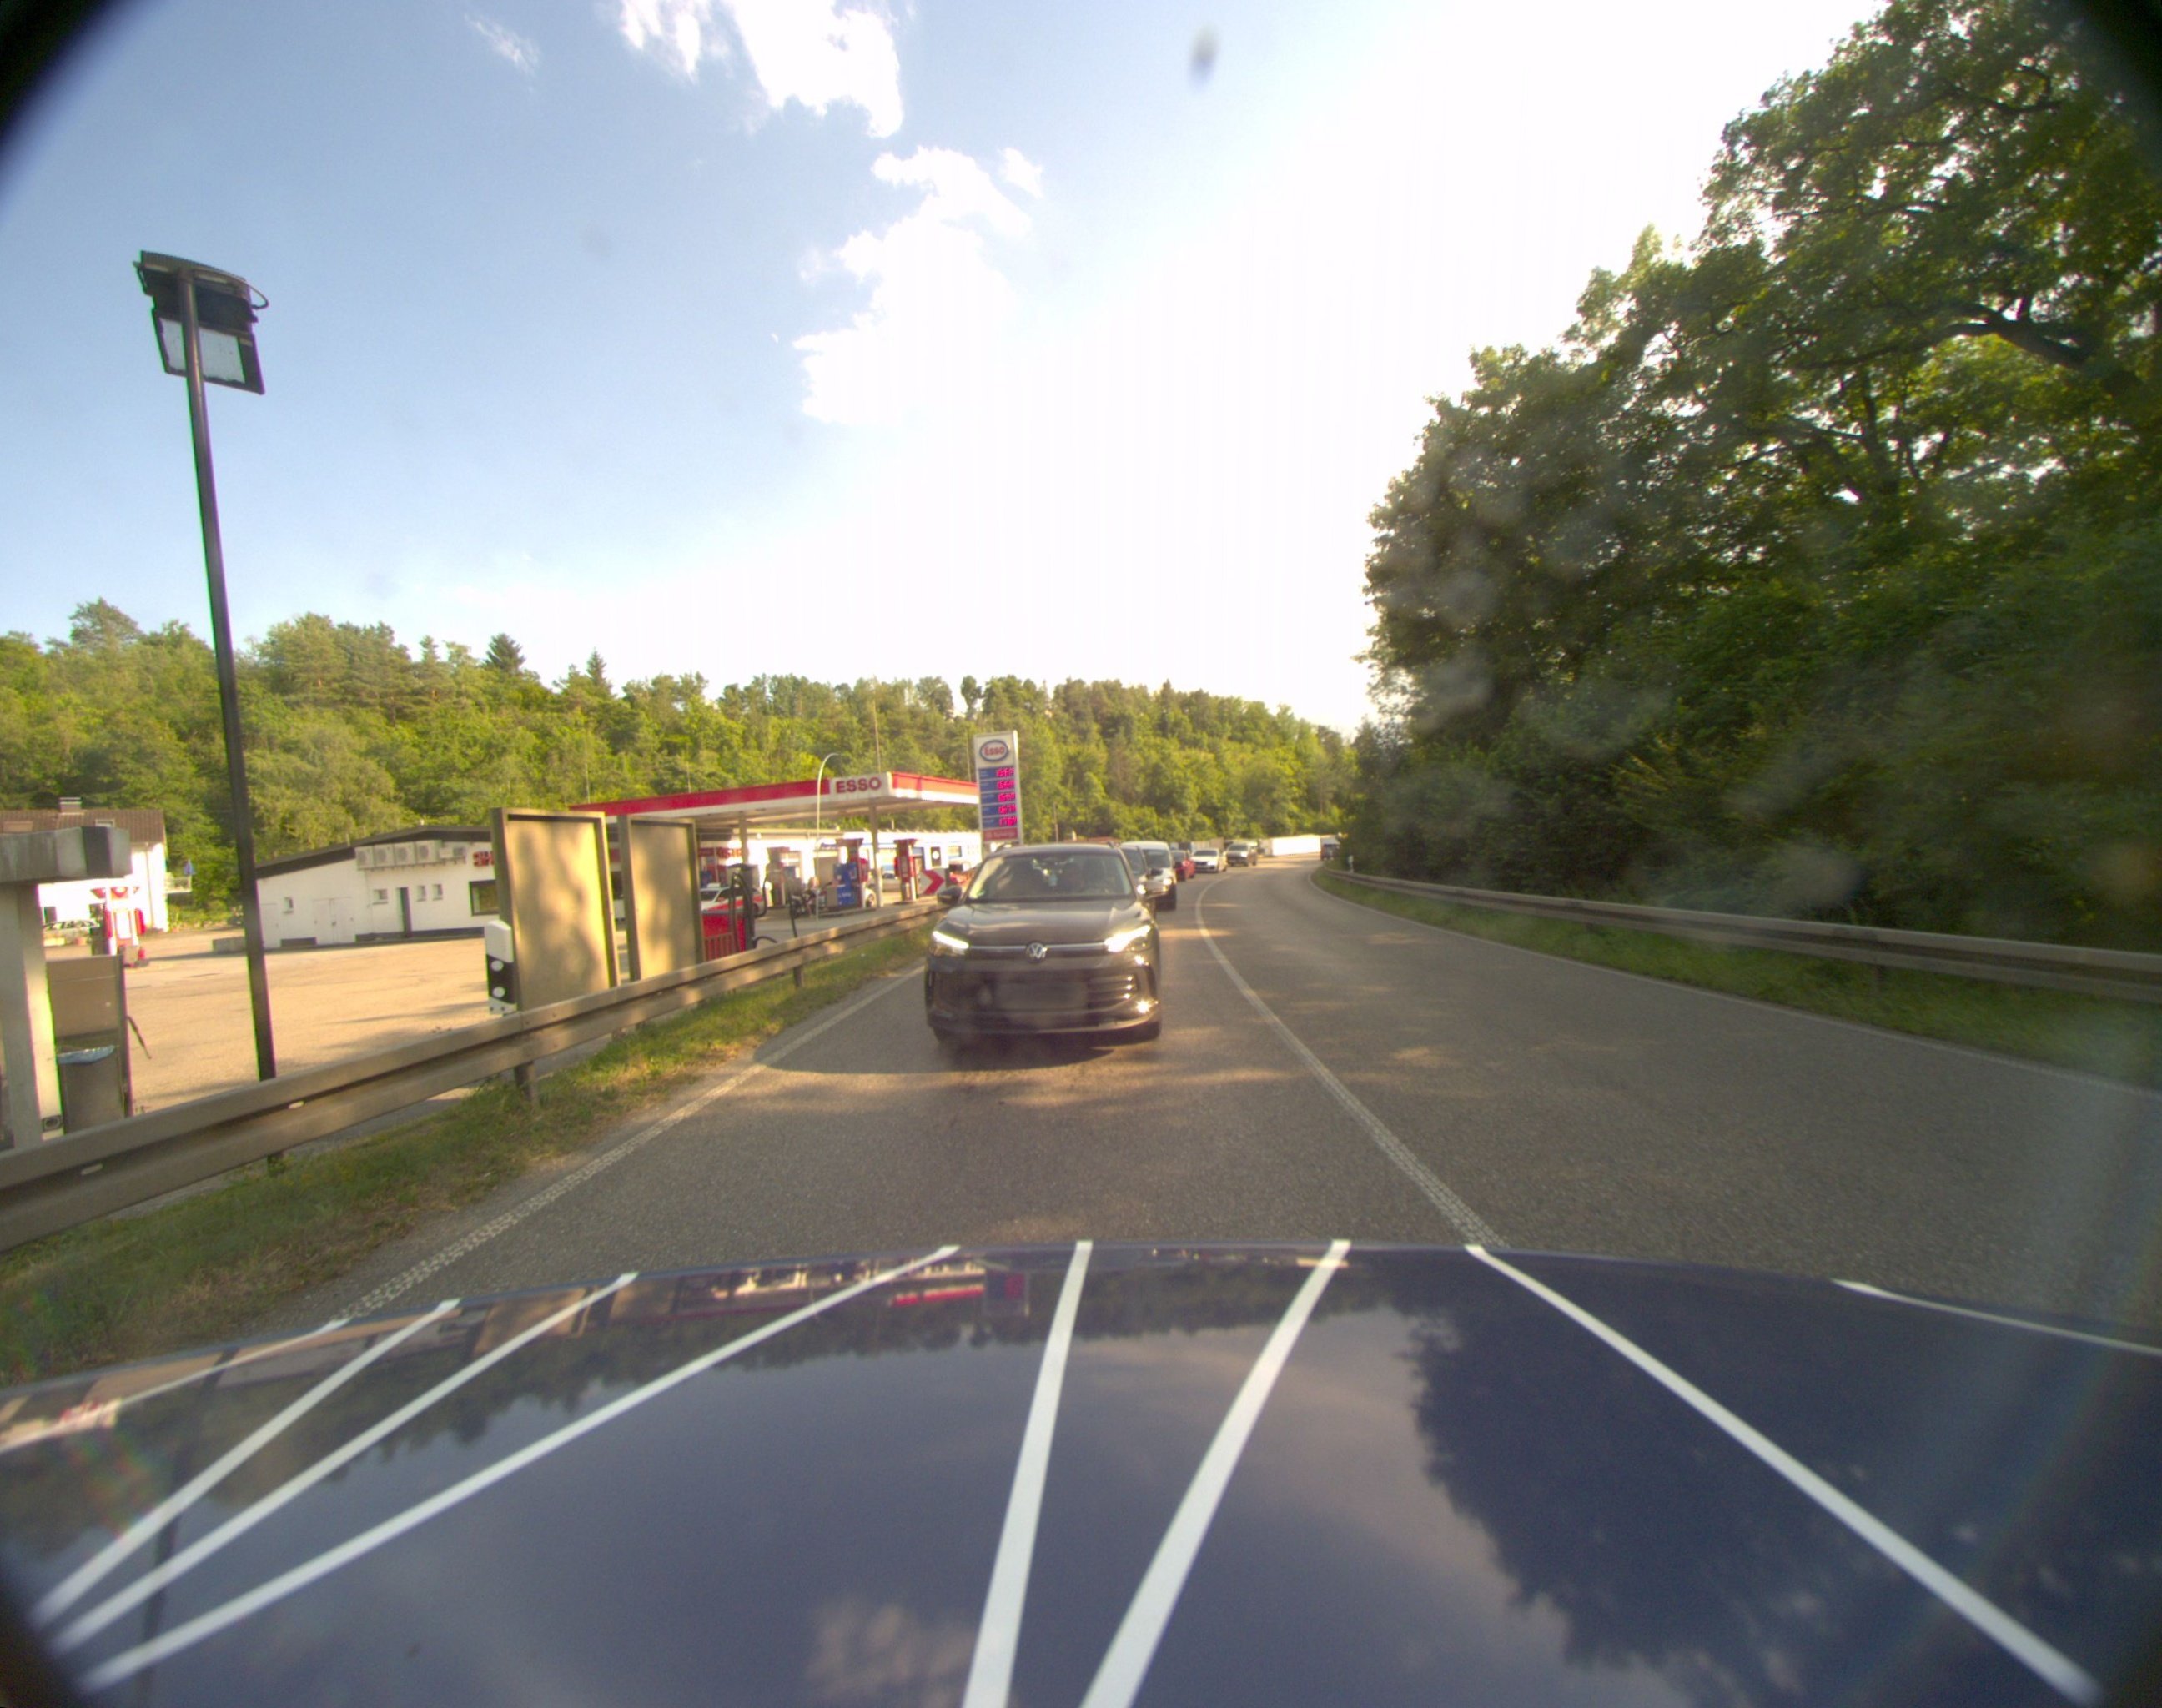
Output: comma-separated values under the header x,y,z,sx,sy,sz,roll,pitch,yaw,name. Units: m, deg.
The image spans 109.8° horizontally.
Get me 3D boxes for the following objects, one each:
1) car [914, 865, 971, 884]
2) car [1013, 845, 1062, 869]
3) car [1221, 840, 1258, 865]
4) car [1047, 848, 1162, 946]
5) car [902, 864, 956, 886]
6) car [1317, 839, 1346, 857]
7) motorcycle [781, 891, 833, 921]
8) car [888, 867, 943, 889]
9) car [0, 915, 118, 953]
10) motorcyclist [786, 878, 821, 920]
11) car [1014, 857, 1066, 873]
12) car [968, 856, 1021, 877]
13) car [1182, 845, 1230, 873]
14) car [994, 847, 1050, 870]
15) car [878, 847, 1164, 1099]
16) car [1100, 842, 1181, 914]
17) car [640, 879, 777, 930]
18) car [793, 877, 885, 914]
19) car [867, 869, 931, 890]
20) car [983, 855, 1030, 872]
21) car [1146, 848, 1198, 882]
x,y,z,sx,sy,sz,roll,pitch,yaw,name
-11.031,1.624,60.576,4.072,1.340,1.896,-1,1,15,car
-4.805,0.341,84.686,4.915,2.435,2.209,-1,1,13,car
11.682,-0.118,55.885,1.857,1.587,4.542,-4,1,22,car
0.615,0.717,14.851,1.847,1.561,4.259,-2,1,7,car
-11.692,1.626,58.546,3.549,1.437,1.735,-3,1,15,car
22.901,-0.497,69.458,1.869,1.555,4.007,-2,-1,27,car
-11.253,2.123,31.254,0.763,1.006,2.343,-3,1,14,motorcycle
-12.249,1.753,56.389,3.555,1.398,1.692,-3,1,15,car
-65.086,5.020,47.932,2.694,1.826,5.175,-4,0,41,car
-11.338,1.824,31.018,0.859,1.595,0.928,-3,1,14,motorcyclist
-3.953,1.032,73.572,4.727,1.426,1.959,-1,1,13,car
-7.737,1.133,67.833,4.254,1.719,1.893,-1,1,12,car
7.634,0.273,45.969,1.913,1.457,4.542,-4,1,21,car
-6.273,0.515,81.127,5.481,2.261,2.297,-1,1,15,car
-0.241,0.790,7.291,1.859,1.630,4.442,-2,0,4,car
1.757,0.583,20.815,1.866,1.710,4.766,-1,0,8,car
-15.066,1.994,31.146,2.095,1.618,5.185,-3,1,14,car
-10.974,1.840,34.794,1.845,1.311,4.394,-3,1,15,car
-12.887,1.805,53.900,3.963,1.347,1.778,-2,1,11,car
-7.489,0.948,76.523,4.246,1.601,1.896,-2,1,15,car
4.479,0.478,36.919,1.857,1.412,4.423,-2,1,14,car
